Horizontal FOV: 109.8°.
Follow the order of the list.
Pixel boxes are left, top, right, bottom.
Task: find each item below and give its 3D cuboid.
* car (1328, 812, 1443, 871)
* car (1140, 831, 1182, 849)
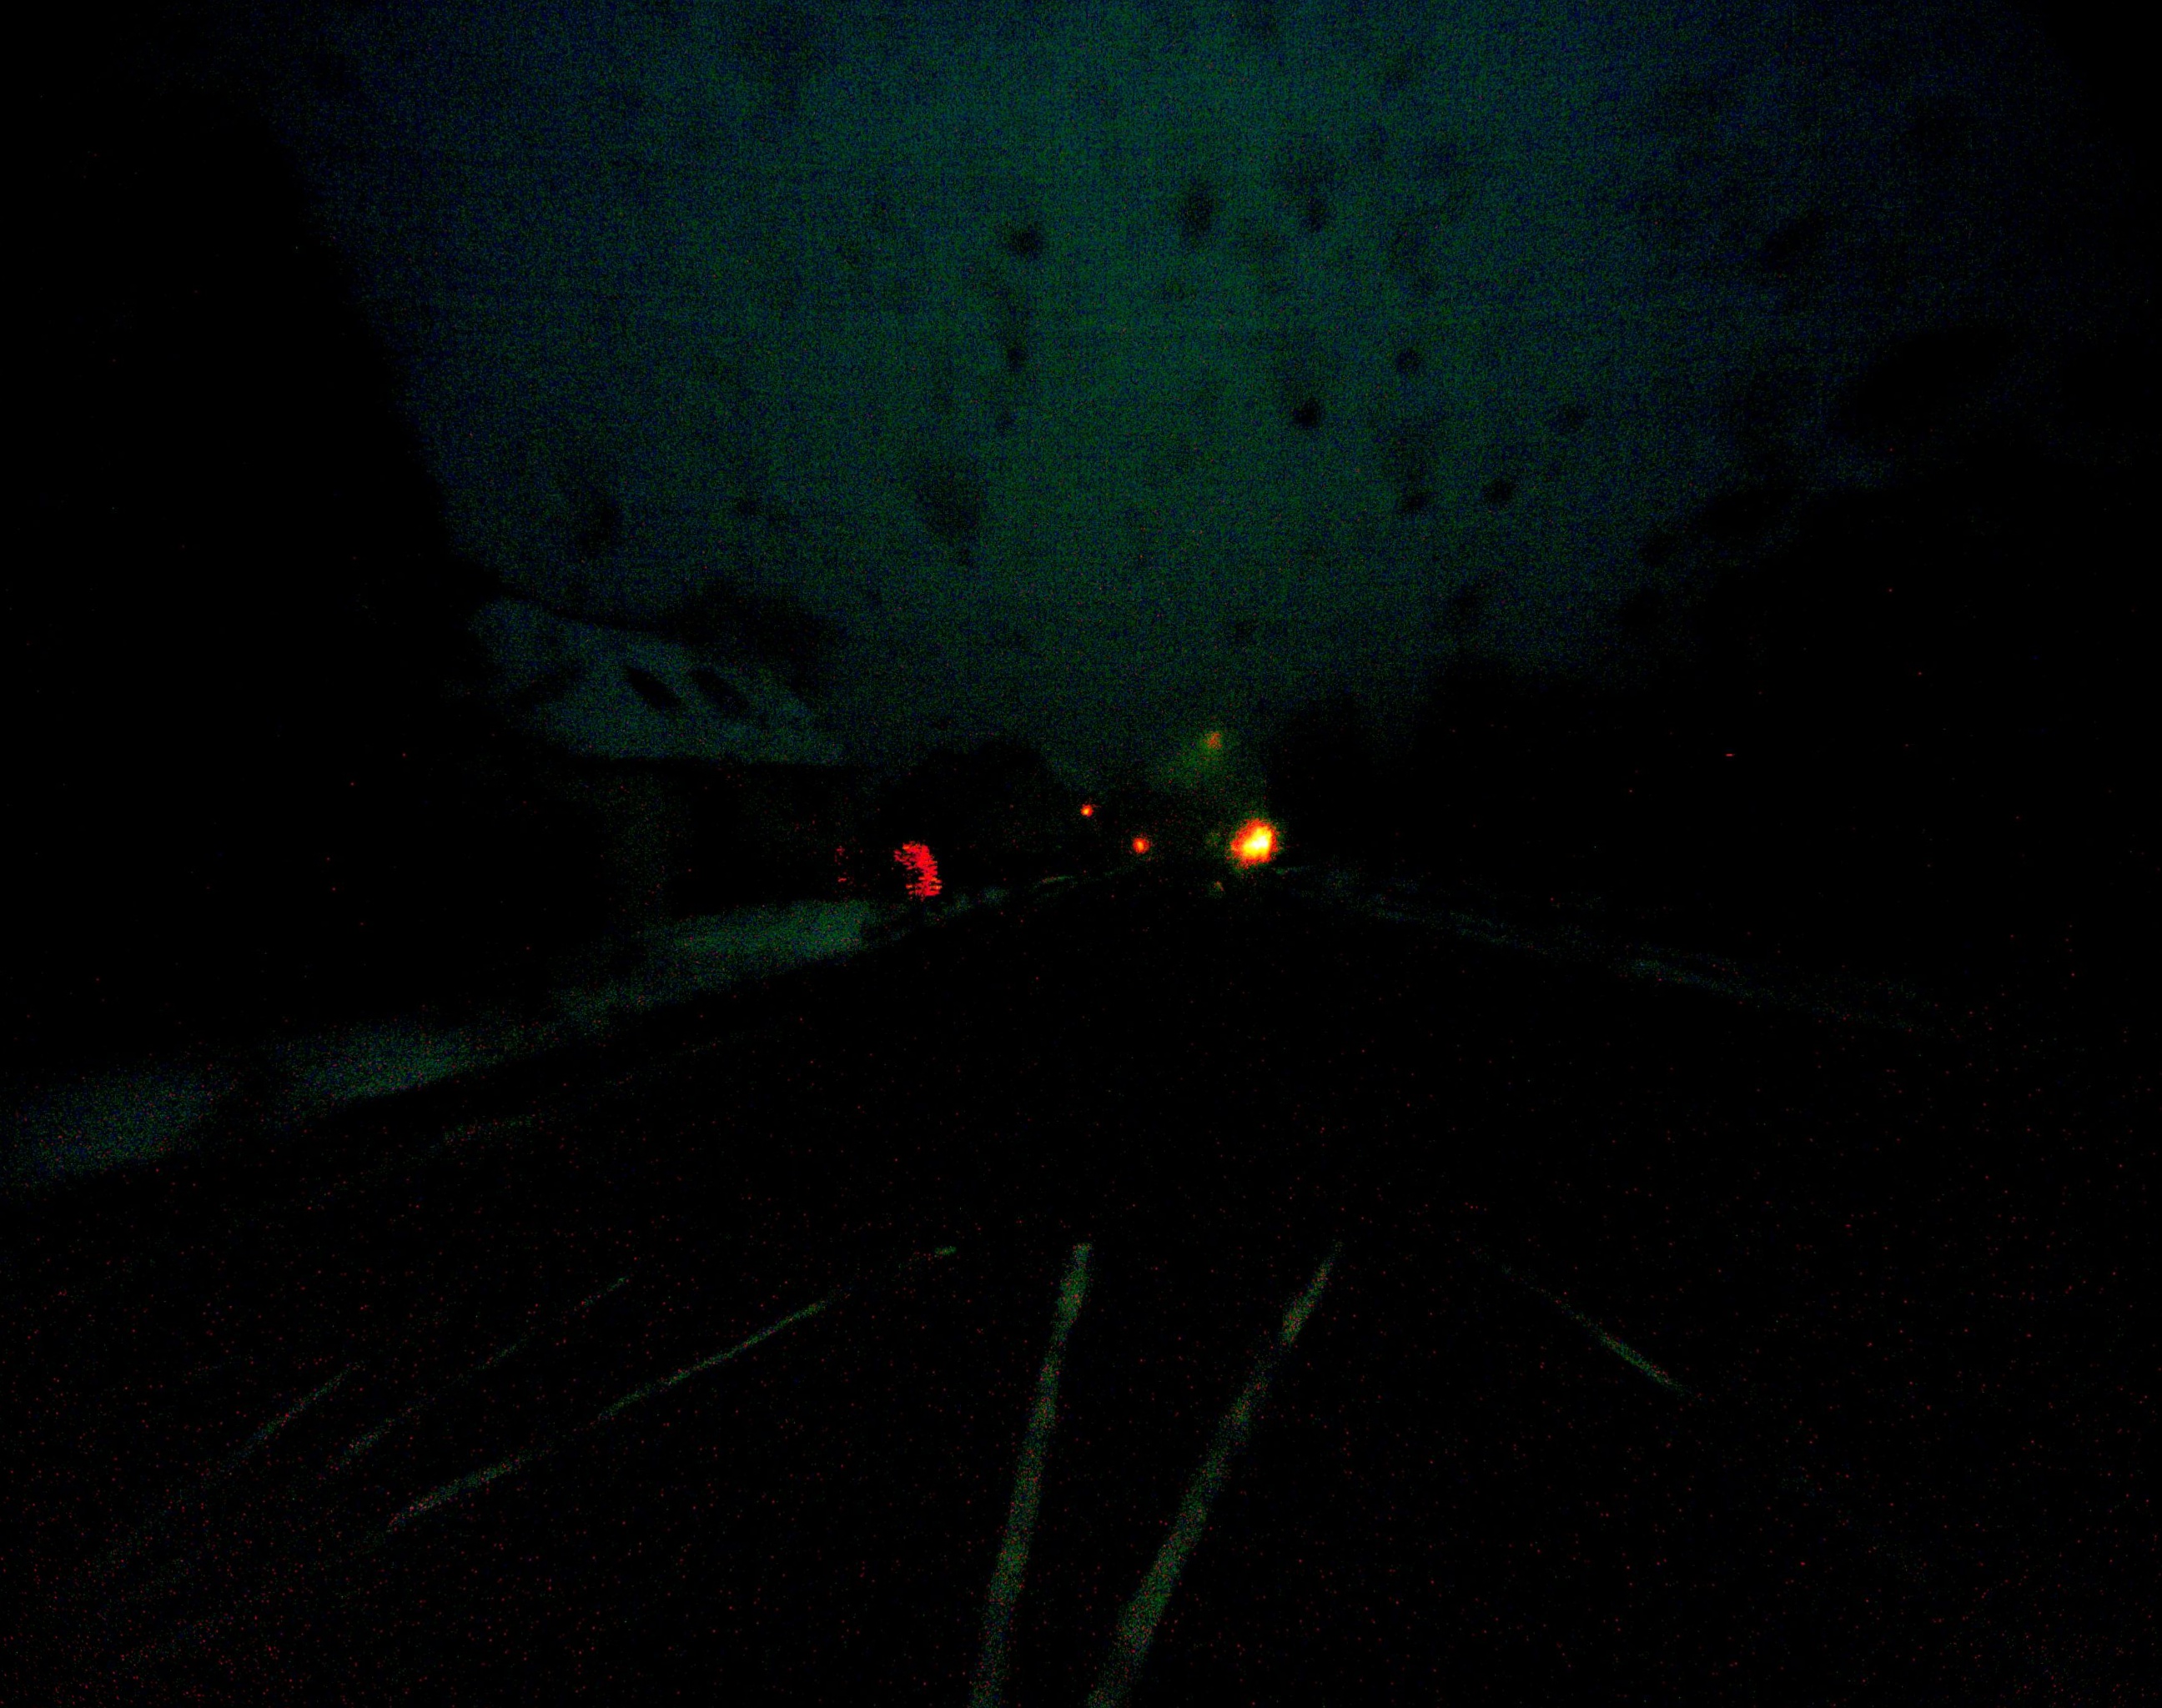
[{"bbox_3d":[12.622,-0.513,31.491,3.993,1.599,1.905,-11,0,30],"label":"car"},{"bbox_3d":[8.782,-1.534,83.471,4.208,1.848,1.914,1,4,29],"label":"car"}]
